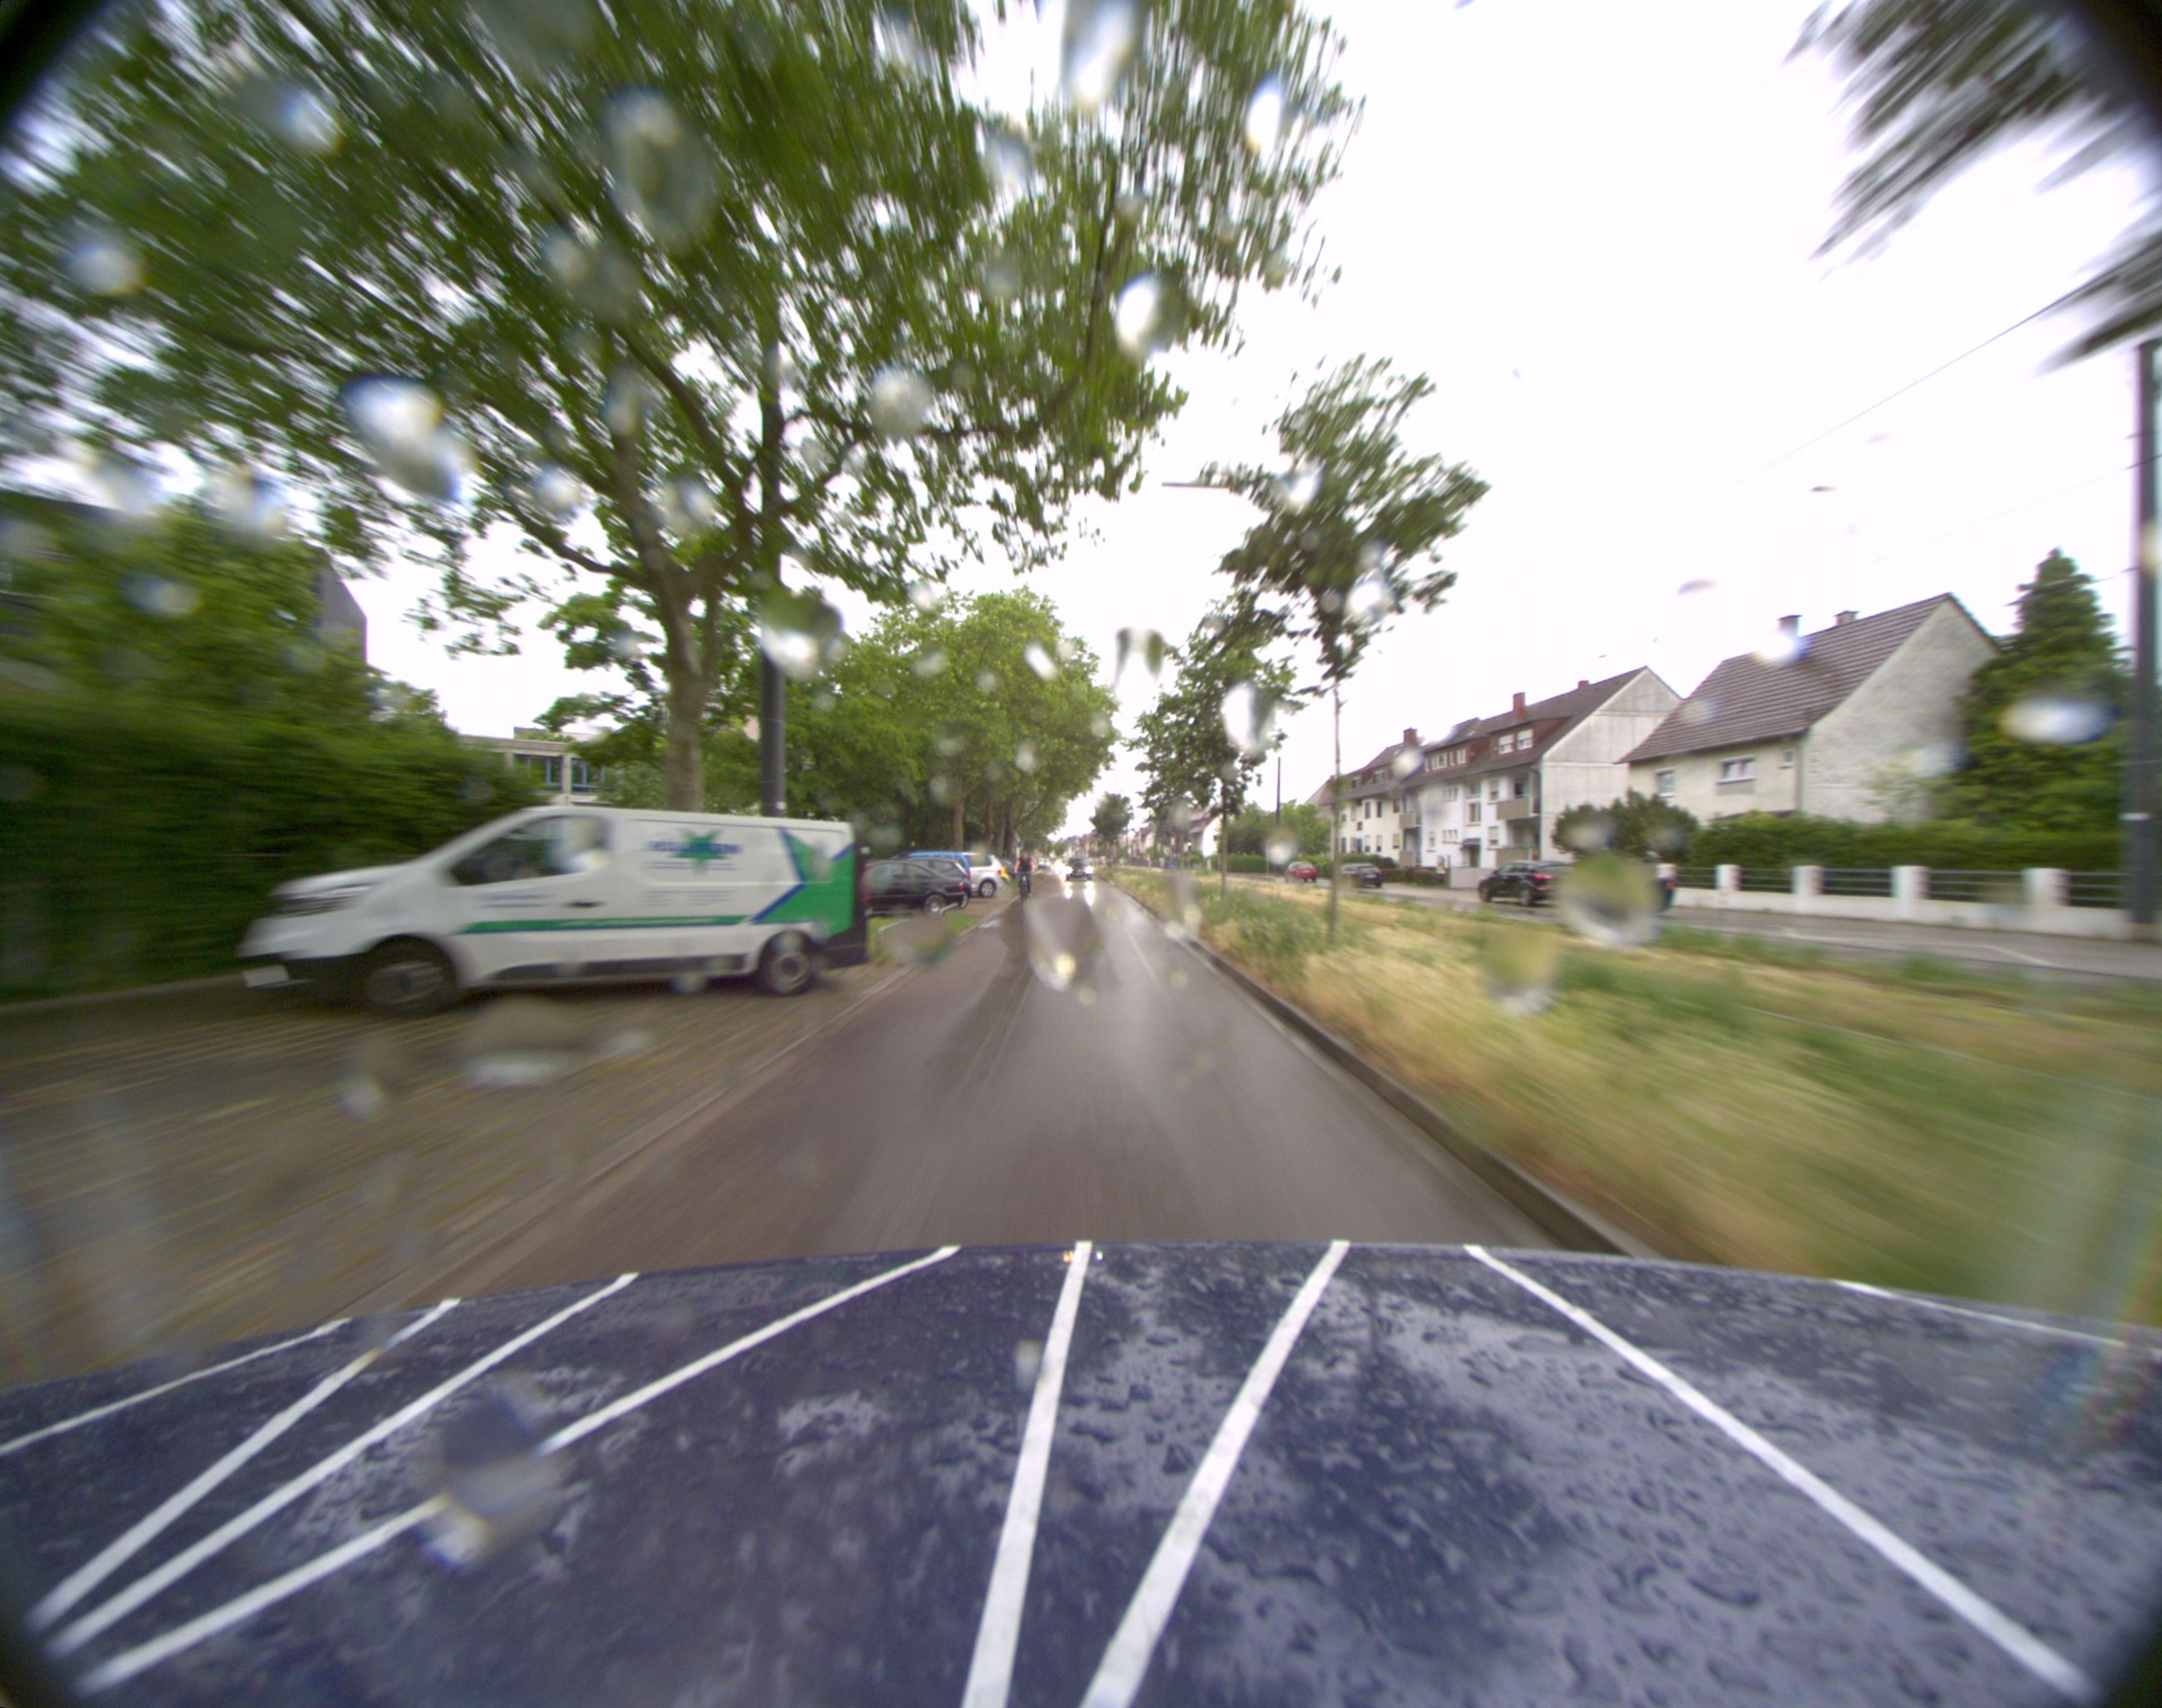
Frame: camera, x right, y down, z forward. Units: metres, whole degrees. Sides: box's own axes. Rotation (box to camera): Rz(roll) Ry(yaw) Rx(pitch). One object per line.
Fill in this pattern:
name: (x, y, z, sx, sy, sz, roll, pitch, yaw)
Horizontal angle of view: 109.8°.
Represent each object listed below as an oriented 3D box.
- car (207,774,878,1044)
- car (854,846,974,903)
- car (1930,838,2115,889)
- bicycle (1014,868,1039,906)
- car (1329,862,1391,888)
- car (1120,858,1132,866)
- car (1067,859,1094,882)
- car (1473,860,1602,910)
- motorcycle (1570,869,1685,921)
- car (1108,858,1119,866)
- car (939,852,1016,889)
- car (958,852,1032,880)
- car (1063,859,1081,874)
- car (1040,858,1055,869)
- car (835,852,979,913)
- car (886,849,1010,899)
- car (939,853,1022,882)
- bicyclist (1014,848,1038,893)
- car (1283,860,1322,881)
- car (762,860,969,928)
car: (-4.943, 0.497, 7.893, 5.040, 2.001, 1.995, 2, -1, -35)
car: (-5.266, 0.652, 24.071, 3.282, 1.662, 1.588, 2, 1, -34)
car: (30.733, 0.307, 24.885, 3.968, 1.531, 1.704, -1, 0, -1)
bicycle: (-1.761, 1.040, 24.646, 0.675, 1.136, 2.445, 0, 0, -1)
car: (16.289, 1.206, 44.573, 1.998, 1.402, 4.762, -1, 0, 2)
car: (10.311, 1.830, 175.395, 2.000, 2.002, 3.998, 1, 0, -6)
car: (-0.071, 1.152, 53.788, 1.781, 1.477, 4.000, 3, 0, -1)
car: (16.609, 1.069, 27.927, 1.999, 1.665, 4.386, 0, 0, -2)
motorcycle: (16.322, 1.183, 22.745, 2.680, 1.403, 1.269, 0, 1, 42)
car: (8.359, 2.033, 196.715, 2.000, 2.002, 3.997, 1, 0, -8)
car: (-4.567, 0.730, 33.566, 2.910, 1.457, 1.599, 2, 1, -29)
car: (-5.038, 0.719, 44.620, 3.812, 1.523, 1.878, 2, -1, -33)
car: (-1.020, 1.340, 82.423, 1.781, 1.477, 4.000, 3, 0, -1)
car: (-4.563, 1.291, 103.610, 1.781, 1.477, 4.000, 3, 0, -1)
car: (-4.815, 0.772, 21.133, 3.412, 1.509, 1.844, 2, 1, -37)
car: (-4.720, 0.696, 27.265, 4.056, 1.631, 1.649, 1, 1, -38)
car: (-5.412, 0.741, 41.187, 4.071, 1.410, 1.737, 2, 0, -36)
bicyclist: (-1.773, 0.532, 24.605, 0.675, 1.421, 0.753, -3, 0, -1)
car: (16.267, 1.196, 56.047, 1.802, 1.448, 4.001, -1, 0, 2)
car: (-4.943, 0.842, 17.759, 4.315, 1.376, 1.736, 0, 0, -40)
